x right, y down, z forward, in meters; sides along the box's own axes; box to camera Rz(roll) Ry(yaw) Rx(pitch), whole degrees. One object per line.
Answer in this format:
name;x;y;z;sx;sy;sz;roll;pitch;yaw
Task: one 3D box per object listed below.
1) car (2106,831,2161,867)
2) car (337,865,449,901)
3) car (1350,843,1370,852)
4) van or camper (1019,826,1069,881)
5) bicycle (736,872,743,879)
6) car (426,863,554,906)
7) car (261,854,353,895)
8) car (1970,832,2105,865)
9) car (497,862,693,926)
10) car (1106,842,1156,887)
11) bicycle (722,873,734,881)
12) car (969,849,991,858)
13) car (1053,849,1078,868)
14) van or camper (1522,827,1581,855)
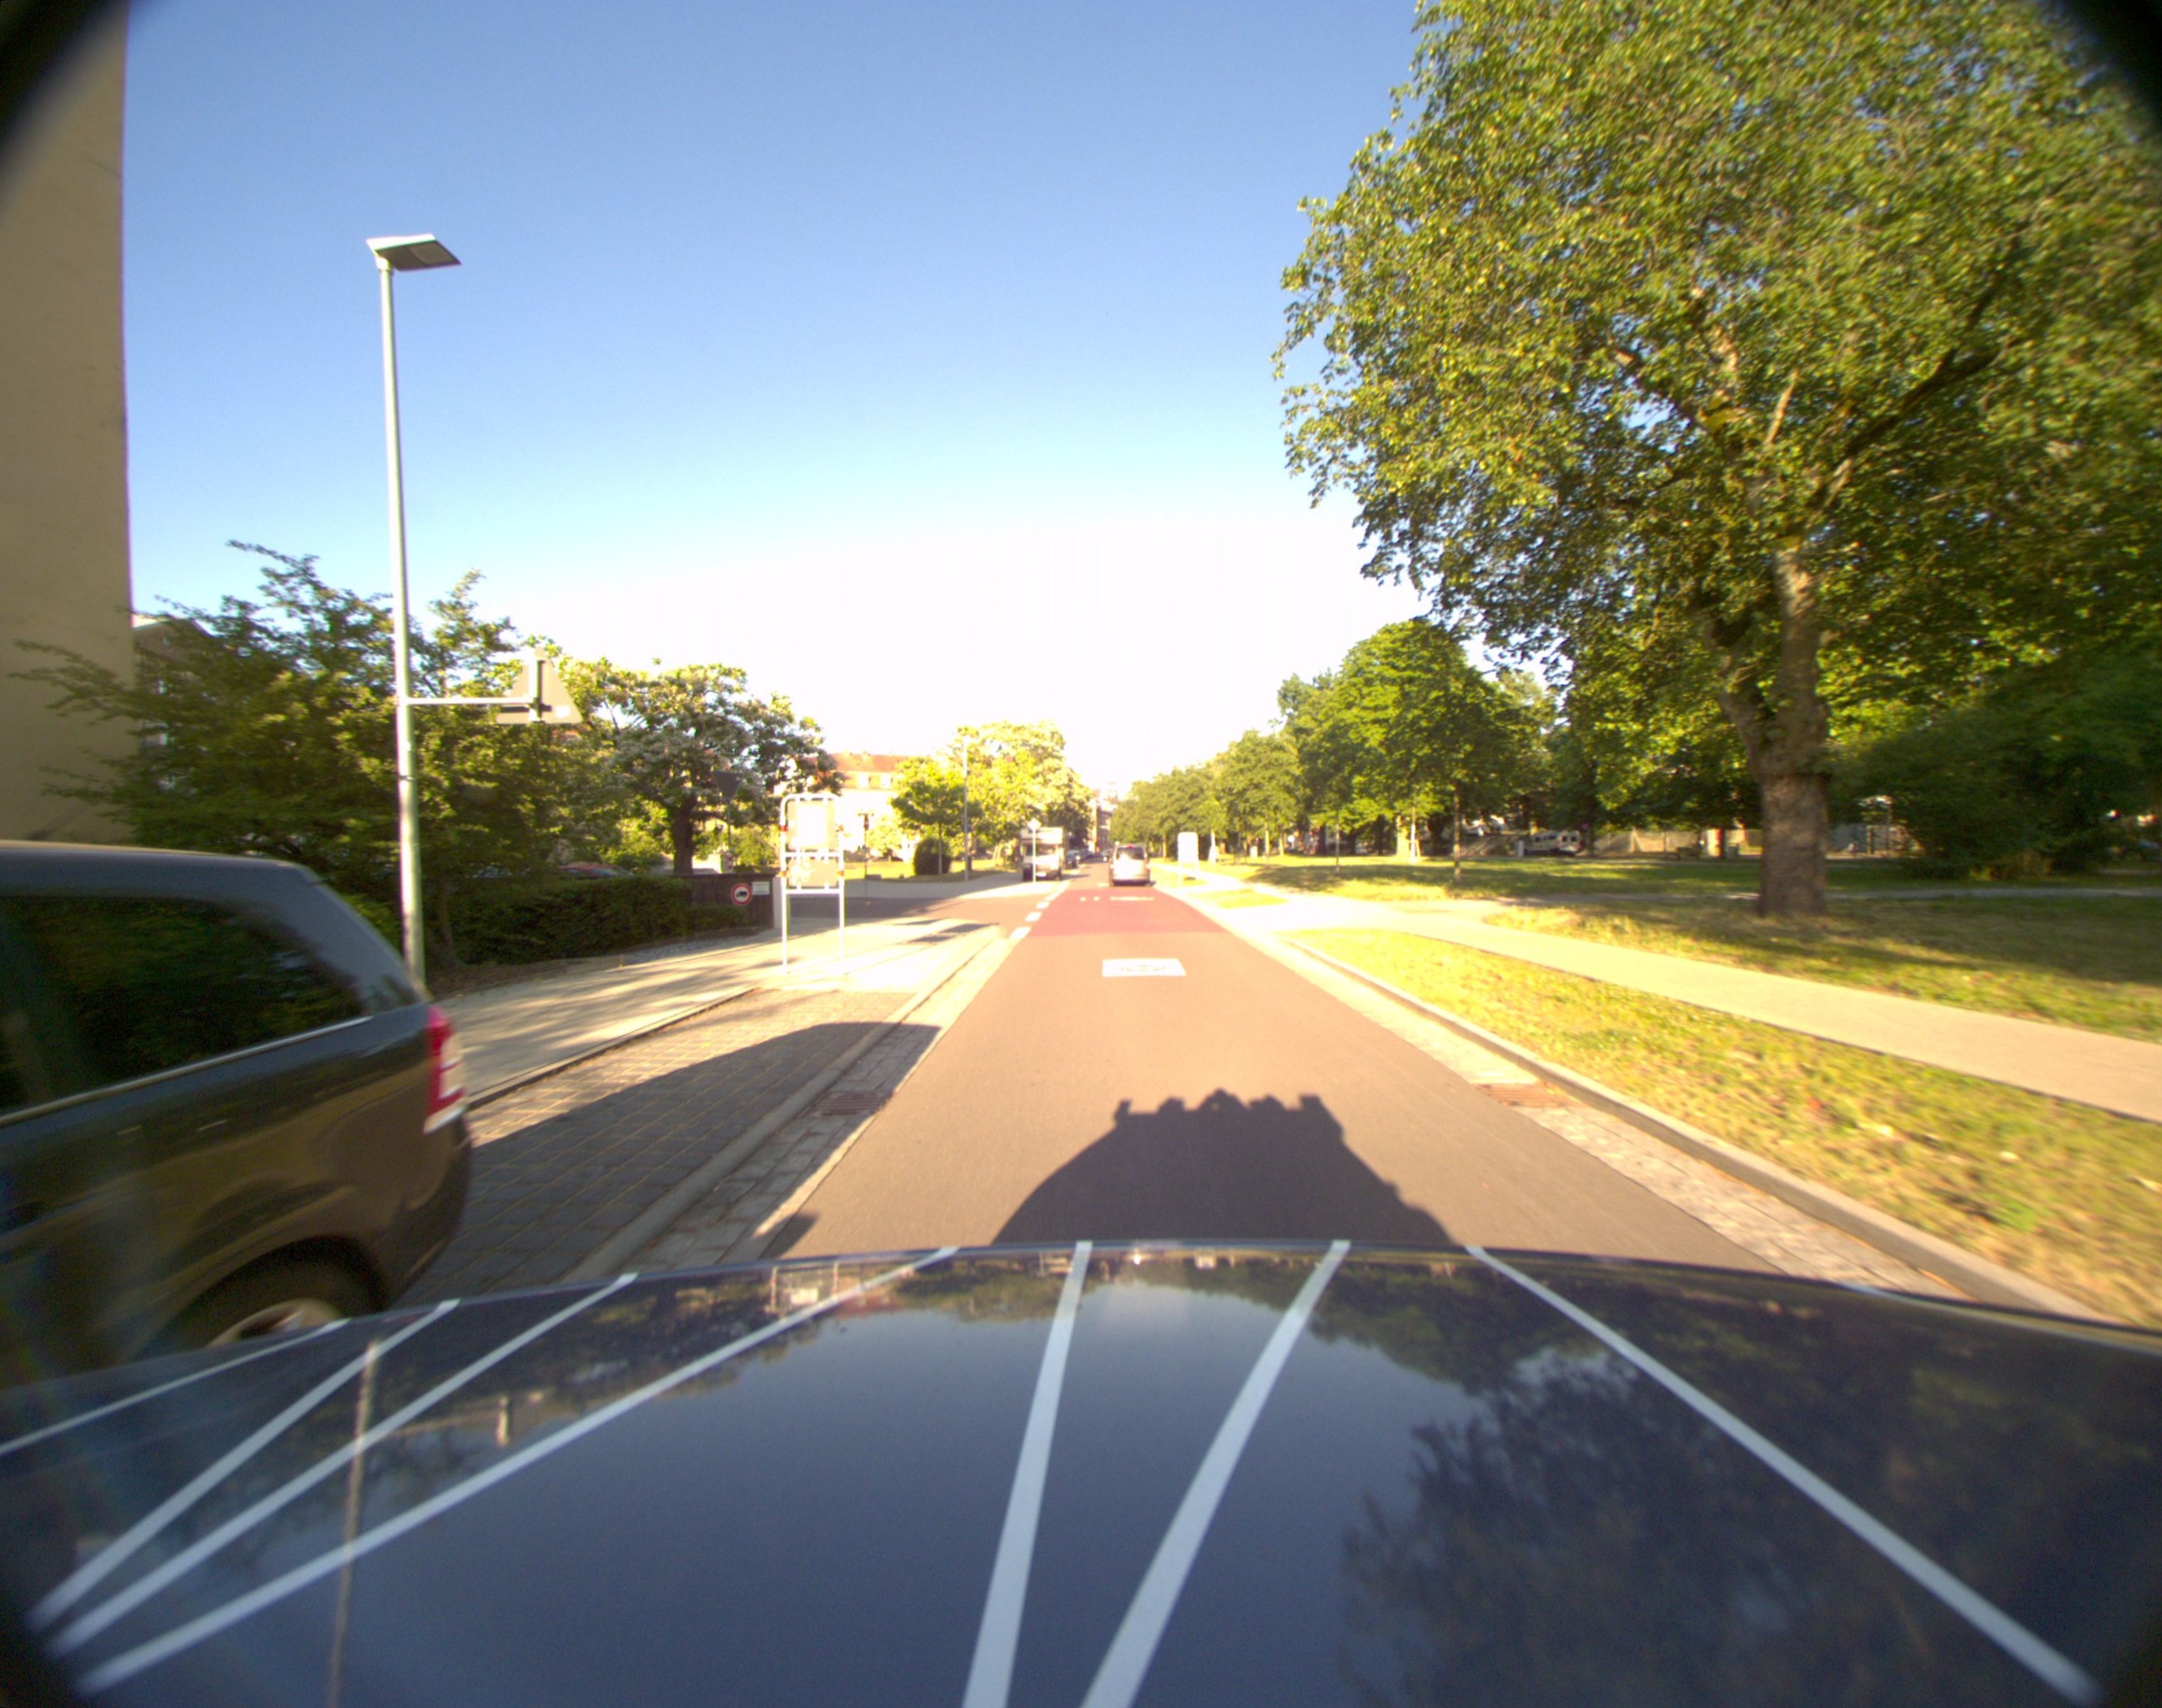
car;43.109;-0.212;29.511;1.526;1.360;3.792;-2;0;1
car;-26.665;1.128;29.460;3.696;1.289;1.729;-2;-1;21
car;45.706;-1.110;124.698;1.796;1.455;4.000;-2;0;1
van or camper;-1.918;-0.088;41.816;2.427;2.767;5.951;1;1;0
bicycle;-31.031;1.974;69.109;0.488;0.579;0.438;-3;1;-38
car;-21.587;1.111;27.761;3.992;1.419;1.729;-2;-1;18
car;-32.904;0.880;32.278;3.695;1.617;1.729;-2;-1;28
car;43.279;-0.248;34.501;1.526;1.360;3.649;-2;0;1
car;-12.848;1.033;20.231;4.042;1.412;1.789;-2;3;5
car;2.127;0.403;33.705;1.848;1.837;4.571;0;1;-1
bicycle;-31.807;2.065;68.471;0.907;0.648;0.438;-2;1;-38
car;-18.918;-0.057;142.139;3.707;1.490;1.724;-2;1;-17
car;-1.272;0.360;65.992;1.998;1.501;4.000;-2;0;1
van or camper;44.101;-1.193;71.416;1.999;2.425;5.466;-3;0;0
